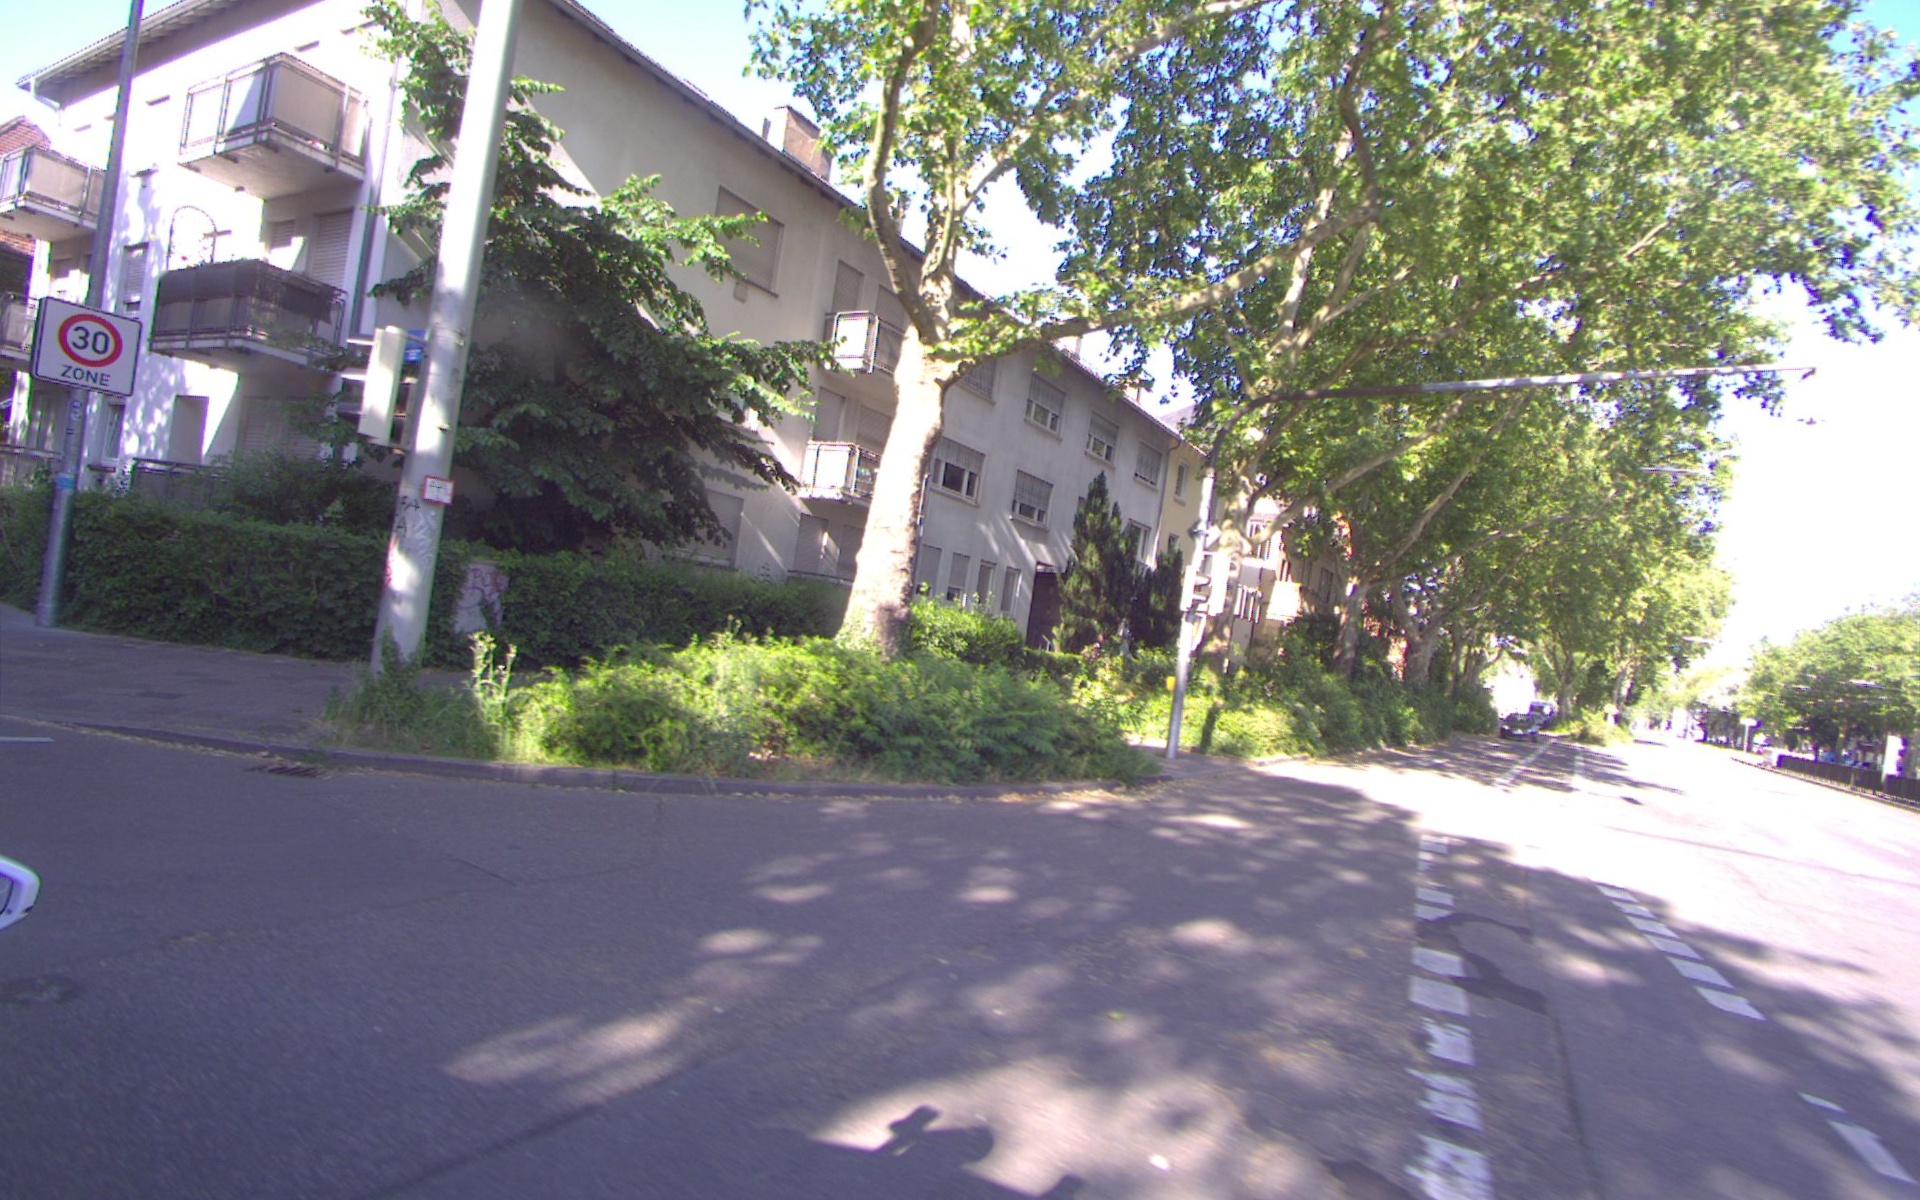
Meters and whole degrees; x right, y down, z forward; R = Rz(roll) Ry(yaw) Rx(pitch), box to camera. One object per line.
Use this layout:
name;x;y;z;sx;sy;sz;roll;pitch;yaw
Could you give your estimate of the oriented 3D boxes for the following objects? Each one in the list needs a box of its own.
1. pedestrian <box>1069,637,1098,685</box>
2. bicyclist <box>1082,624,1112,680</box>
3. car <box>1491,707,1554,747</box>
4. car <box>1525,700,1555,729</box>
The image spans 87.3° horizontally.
pedestrian;2.775;1.365;22.574;0.343;1.016;0.351;11;-1;-30
bicyclist;3.095;1.176;22.749;0.350;1.183;0.343;11;-1;-30
car;28.833;6.522;51.528;1.805;1.424;3.872;9;-3;44
car;51.740;10.210;89.742;1.967;2.035;3.998;9;-3;32
